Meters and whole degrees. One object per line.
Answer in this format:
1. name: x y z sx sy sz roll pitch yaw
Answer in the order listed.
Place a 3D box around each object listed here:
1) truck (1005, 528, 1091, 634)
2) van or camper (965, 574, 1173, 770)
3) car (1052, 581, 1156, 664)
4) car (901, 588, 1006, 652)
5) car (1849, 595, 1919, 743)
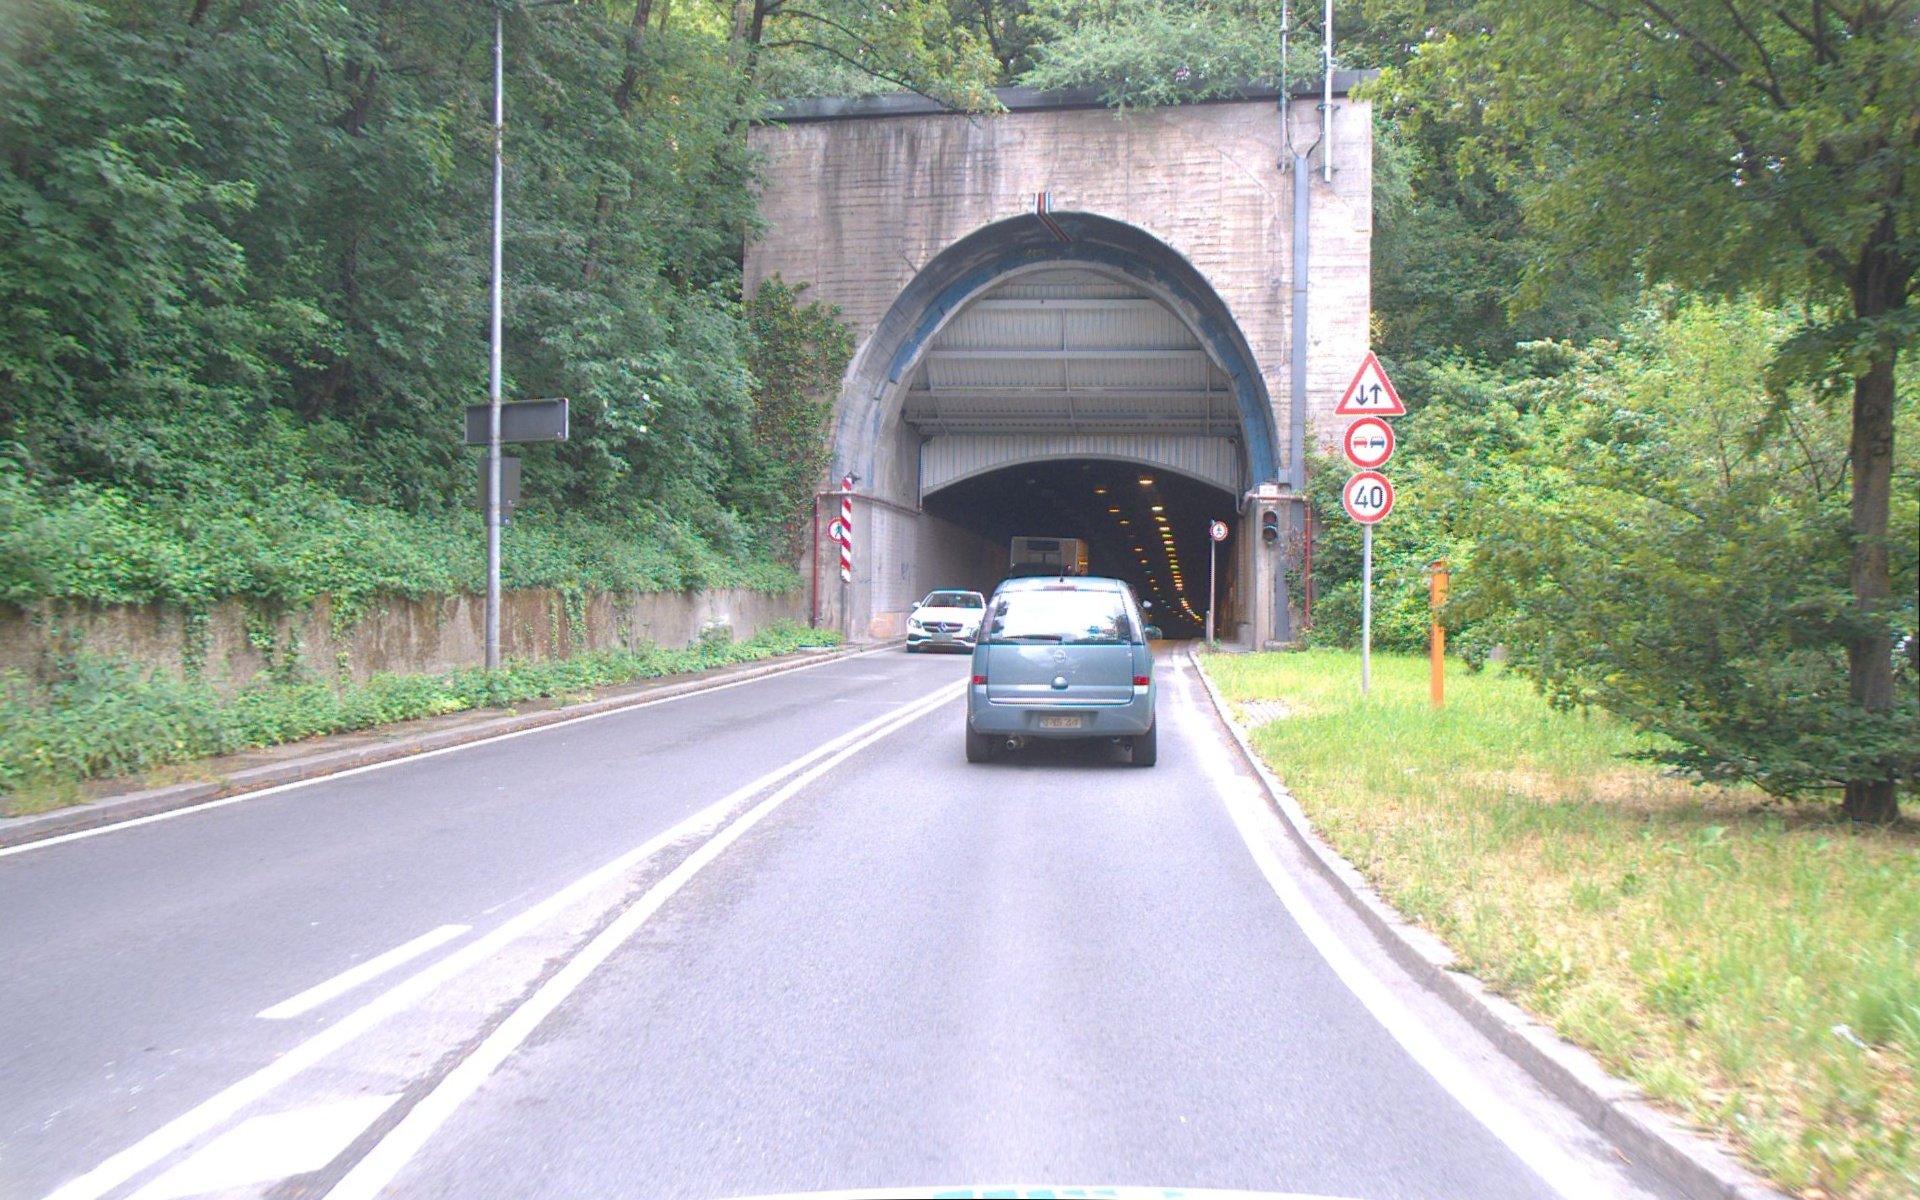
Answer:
1. truck: 3.431 -0.681 62.580 2.618 3.731 7.523 1 0 8
2. van or camper: 0.969 0.577 15.440 1.699 1.605 3.647 -1 1 2
3. car: 3.257 0.456 36.693 1.951 1.682 4.004 0 1 10
4. car: -0.079 0.433 38.768 1.828 1.395 4.460 -1 0 8
5. car: 11.885 0.775 18.409 1.770 1.695 4.888 -2 0 7
